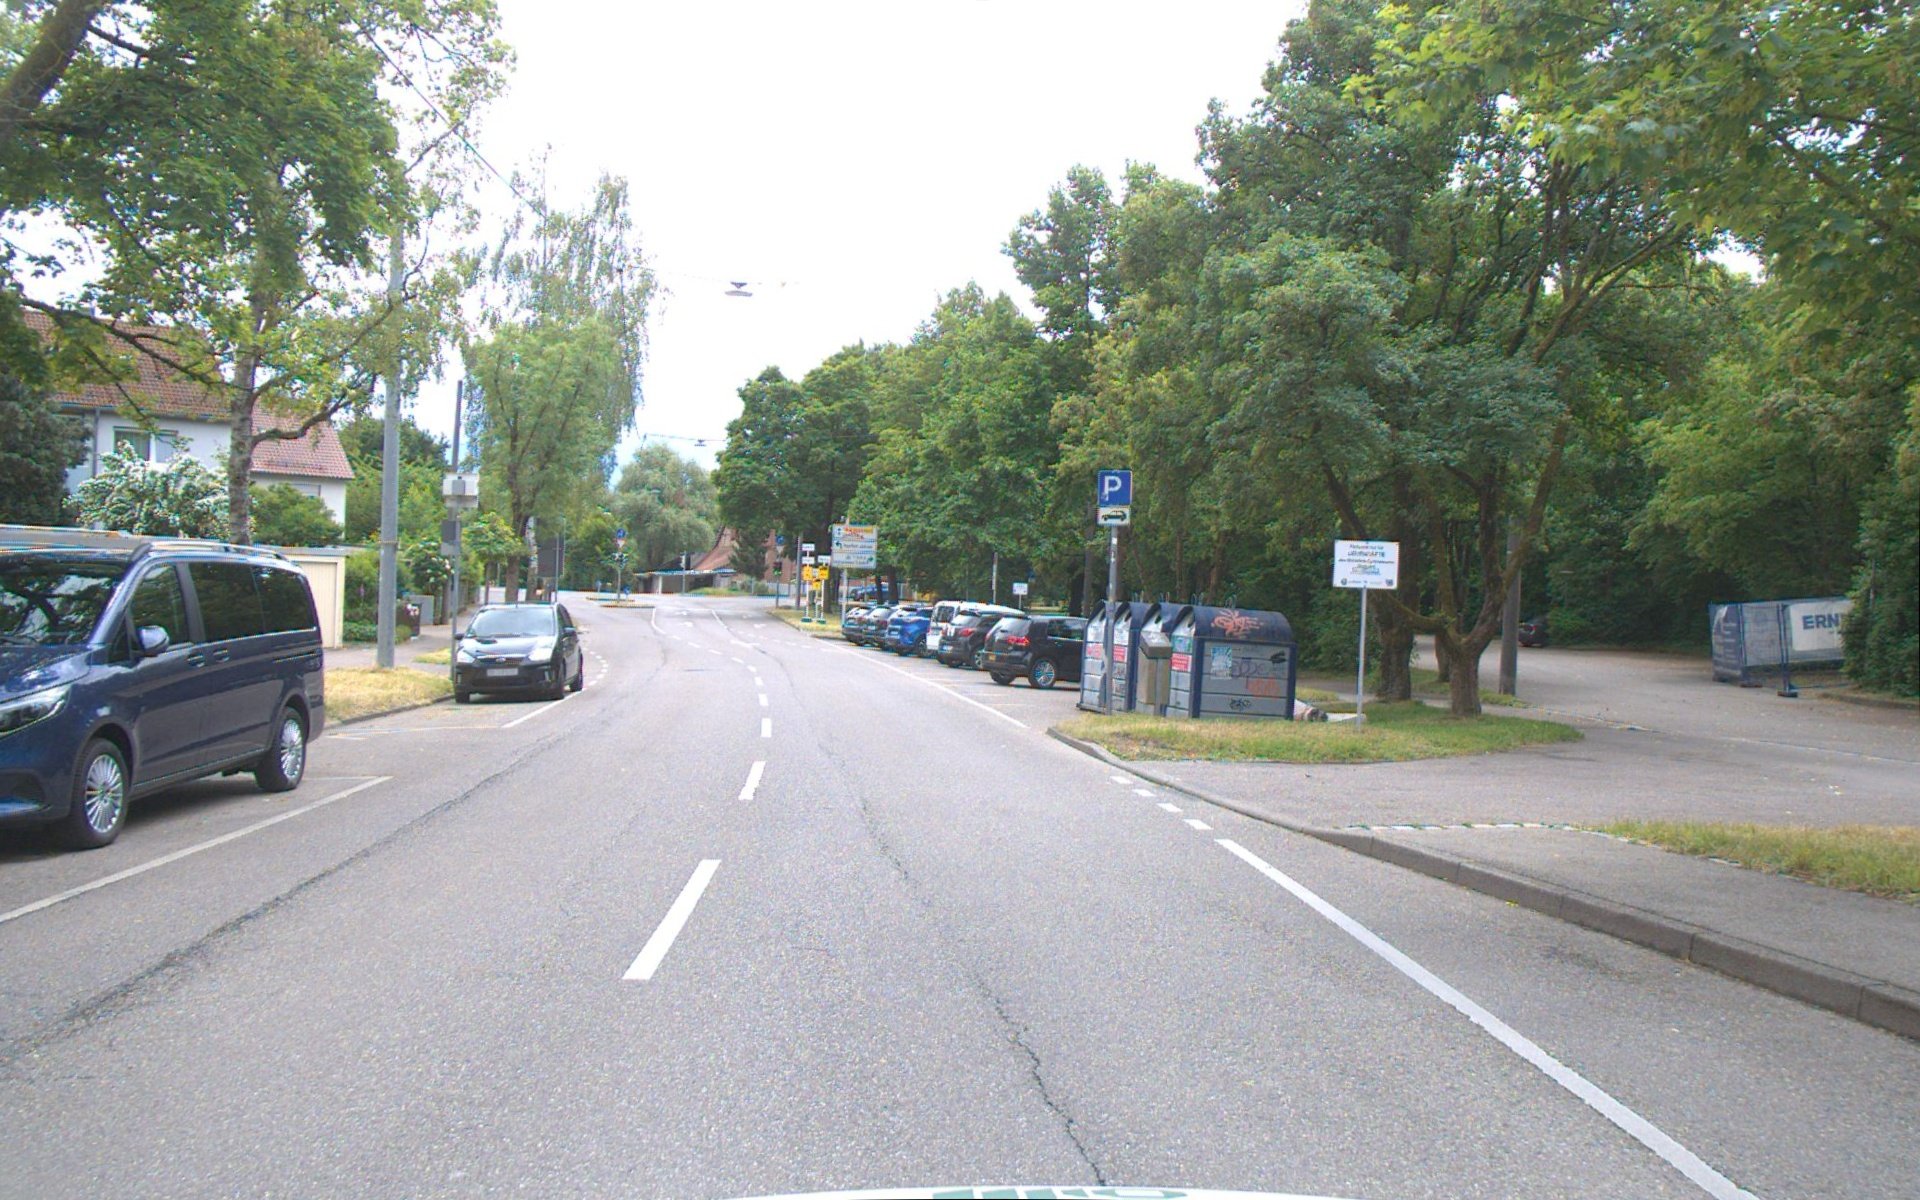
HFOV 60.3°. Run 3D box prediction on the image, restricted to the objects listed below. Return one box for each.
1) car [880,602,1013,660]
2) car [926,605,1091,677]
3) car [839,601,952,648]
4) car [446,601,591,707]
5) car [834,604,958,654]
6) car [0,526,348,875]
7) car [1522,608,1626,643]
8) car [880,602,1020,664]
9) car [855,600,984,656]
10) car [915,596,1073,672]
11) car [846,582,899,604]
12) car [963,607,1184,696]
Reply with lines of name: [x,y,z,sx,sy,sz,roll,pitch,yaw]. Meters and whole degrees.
car: [-0.423,0.980,52.225,3.776,1.555,1.730,5,-2,-29]
car: [1.241,1.047,41.906,3.776,1.493,1.730,5,-1,-29]
car: [-2.410,0.921,61.948,3.776,1.450,1.730,5,-2,-29]
car: [-7.377,0.856,28.015,1.770,1.590,4.260,-2,0,-7]
car: [-2.199,0.994,57.138,3.830,1.451,1.813,5,-2,-29]
car: [-6.088,0.561,11.716,1.821,1.942,5.079,1,0,-3]
car: [27.152,1.130,73.184,3.908,1.434,1.799,1,0,-4]
car: [-0.286,0.976,49.297,3.776,1.555,1.730,5,-2,-29]
car: [-1.322,0.928,54.093,3.776,1.555,1.730,5,-2,-29]
car: [0.925,0.928,44.657,3.776,1.750,1.861,5,-2,-29]
car: [-7.115,-0.535,134.473,3.805,1.676,1.980,1,1,-31]
car: [2.315,1.041,33.607,3.942,1.438,2.039,5,0,-29]
